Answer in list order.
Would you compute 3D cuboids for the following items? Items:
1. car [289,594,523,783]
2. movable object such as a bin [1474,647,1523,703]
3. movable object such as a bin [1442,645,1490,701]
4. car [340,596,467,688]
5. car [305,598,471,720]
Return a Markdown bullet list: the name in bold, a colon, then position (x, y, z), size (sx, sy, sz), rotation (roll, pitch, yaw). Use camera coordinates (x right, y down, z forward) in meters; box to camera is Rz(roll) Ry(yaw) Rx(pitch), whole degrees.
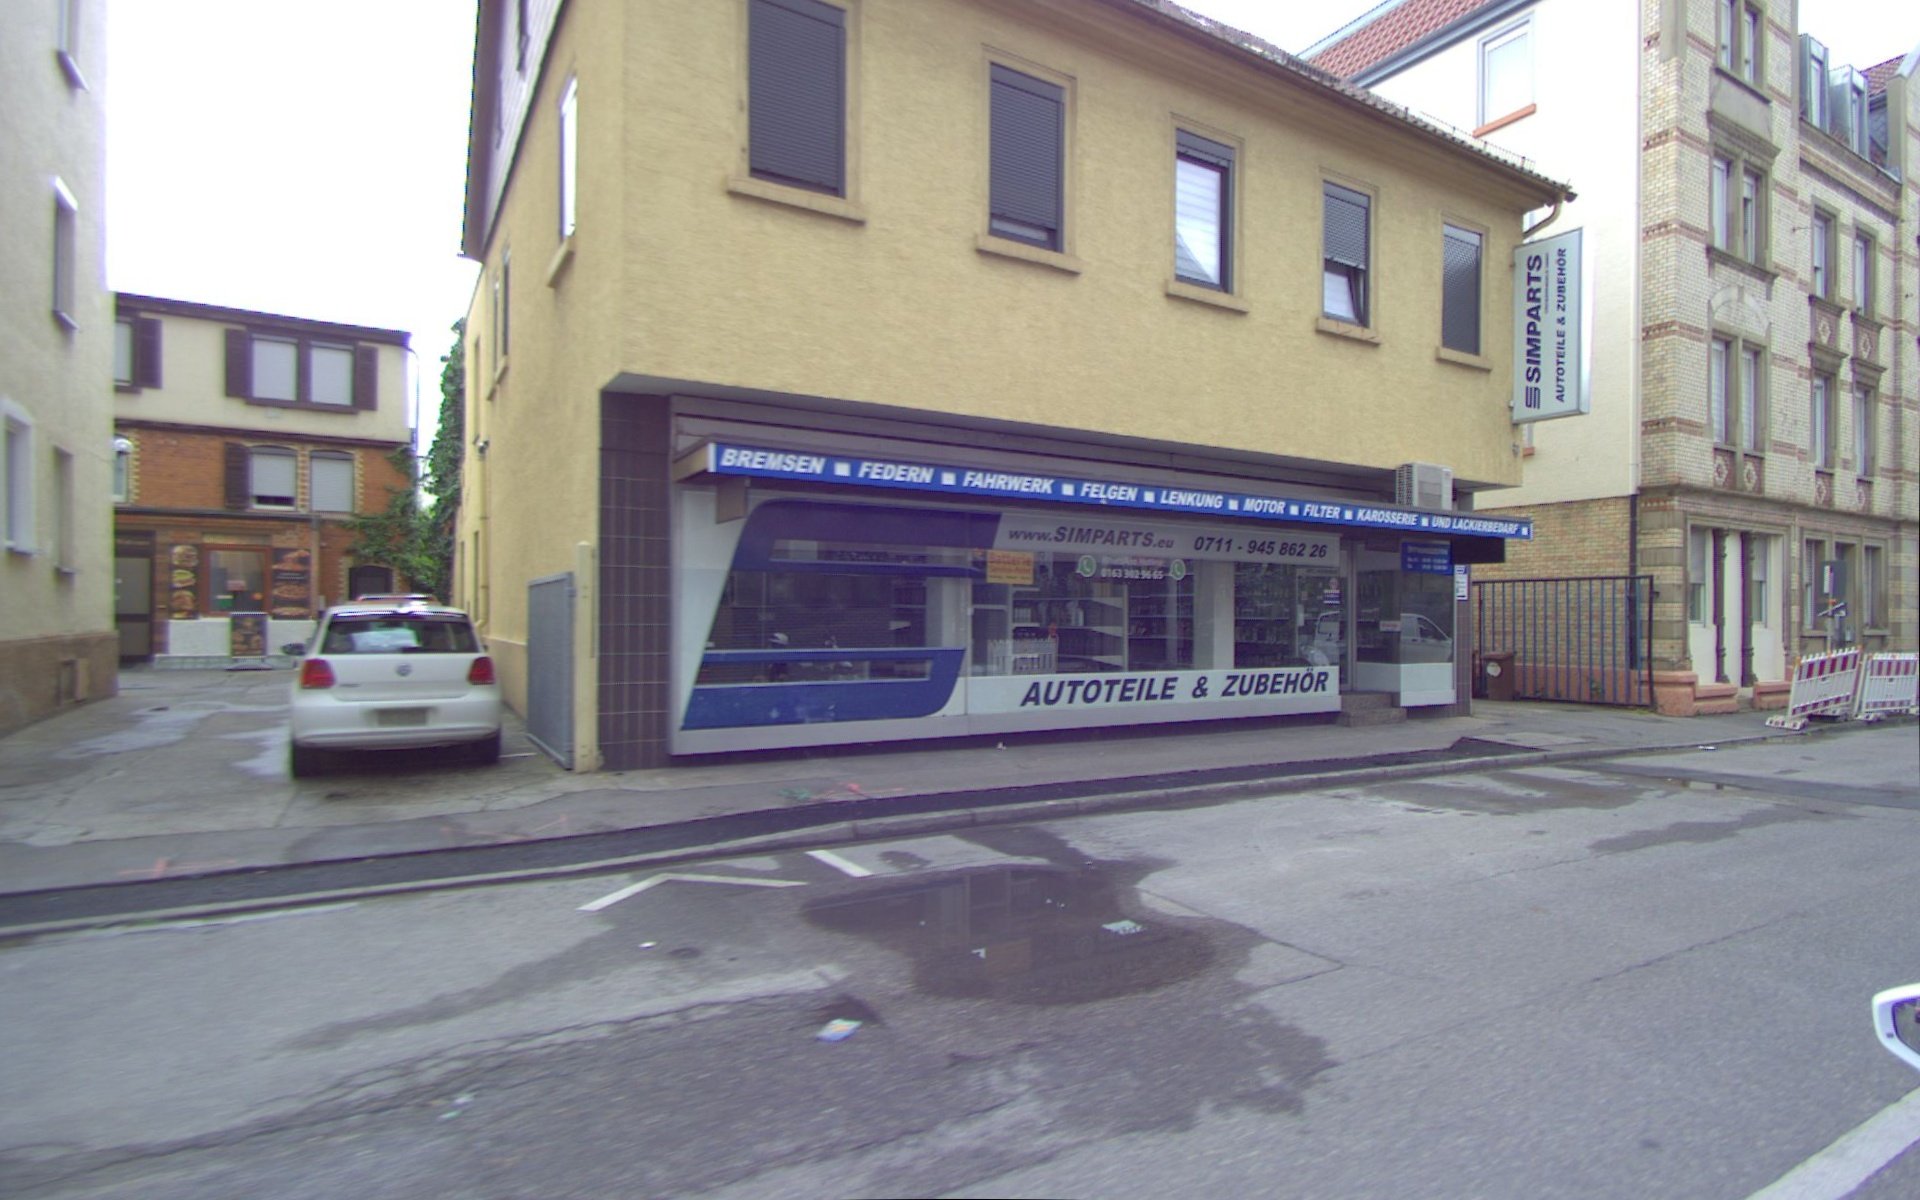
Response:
- **car**: position (-5.709, 0.737, 10.135), size (1.708, 1.506, 3.963), rotation (2, -1, -34)
- **movable object such as a bin**: position (10.262, 1.421, 19.149), size (0.605, 1.049, 0.590), rotation (1, -3, -29)
- **movable object such as a bin**: position (9.934, 1.417, 19.724), size (0.605, 1.049, 0.590), rotation (1, -1, -29)
- **car**: position (-9.926, 0.694, 17.980), size (1.766, 1.461, 3.843), rotation (1, -1, -29)
- **car**: position (-7.909, 0.732, 14.012), size (1.766, 1.461, 3.503), rotation (1, -1, -29)
